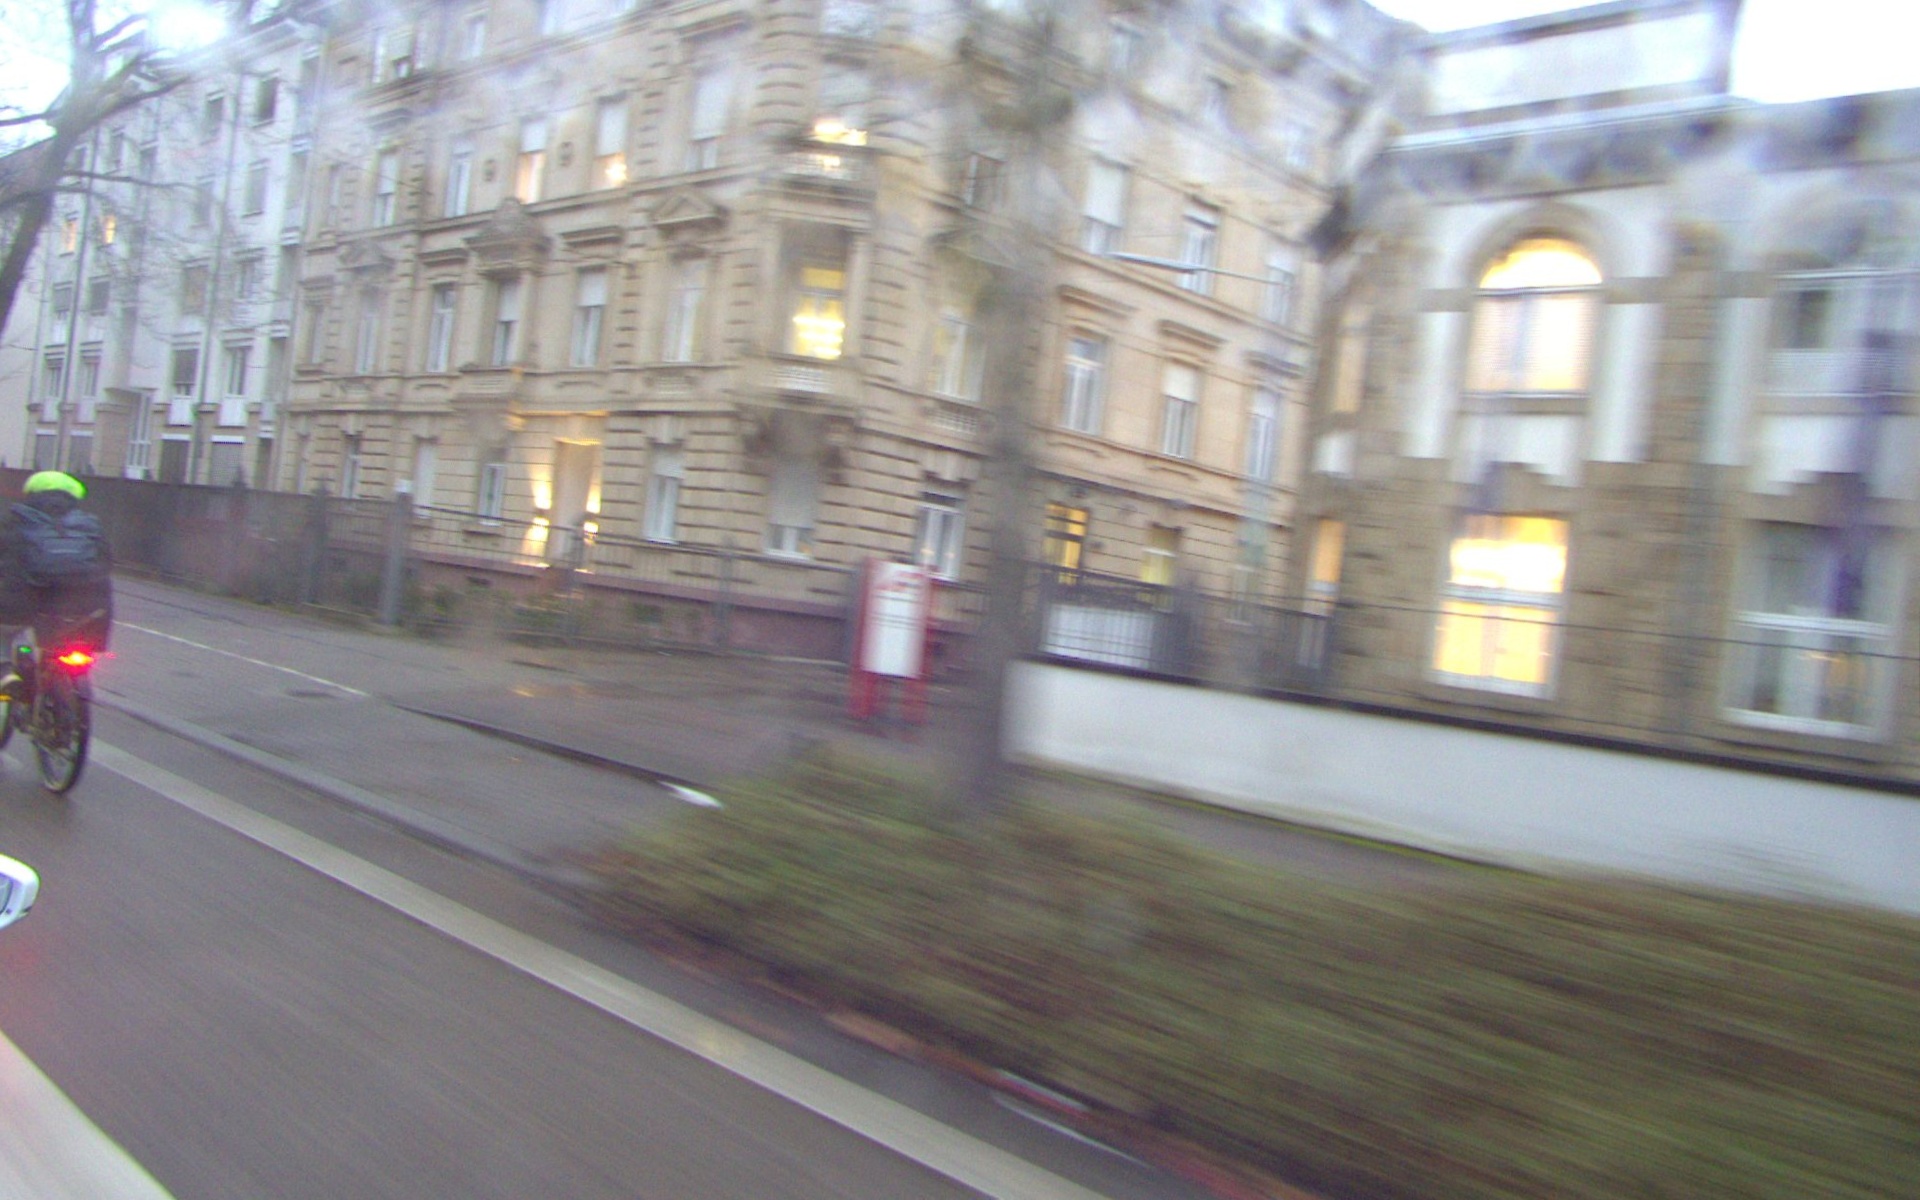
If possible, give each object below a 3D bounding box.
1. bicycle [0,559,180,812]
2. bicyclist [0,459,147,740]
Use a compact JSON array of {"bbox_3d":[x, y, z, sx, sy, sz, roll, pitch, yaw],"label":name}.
[{"bbox_3d":[-5.265,0.396,5.693,1.997,1.110,0.707,8,1,35],"label":"bicycle"},{"bbox_3d":[-5.201,-0.020,5.665,0.836,1.464,0.656,8,1,35],"label":"bicyclist"}]
